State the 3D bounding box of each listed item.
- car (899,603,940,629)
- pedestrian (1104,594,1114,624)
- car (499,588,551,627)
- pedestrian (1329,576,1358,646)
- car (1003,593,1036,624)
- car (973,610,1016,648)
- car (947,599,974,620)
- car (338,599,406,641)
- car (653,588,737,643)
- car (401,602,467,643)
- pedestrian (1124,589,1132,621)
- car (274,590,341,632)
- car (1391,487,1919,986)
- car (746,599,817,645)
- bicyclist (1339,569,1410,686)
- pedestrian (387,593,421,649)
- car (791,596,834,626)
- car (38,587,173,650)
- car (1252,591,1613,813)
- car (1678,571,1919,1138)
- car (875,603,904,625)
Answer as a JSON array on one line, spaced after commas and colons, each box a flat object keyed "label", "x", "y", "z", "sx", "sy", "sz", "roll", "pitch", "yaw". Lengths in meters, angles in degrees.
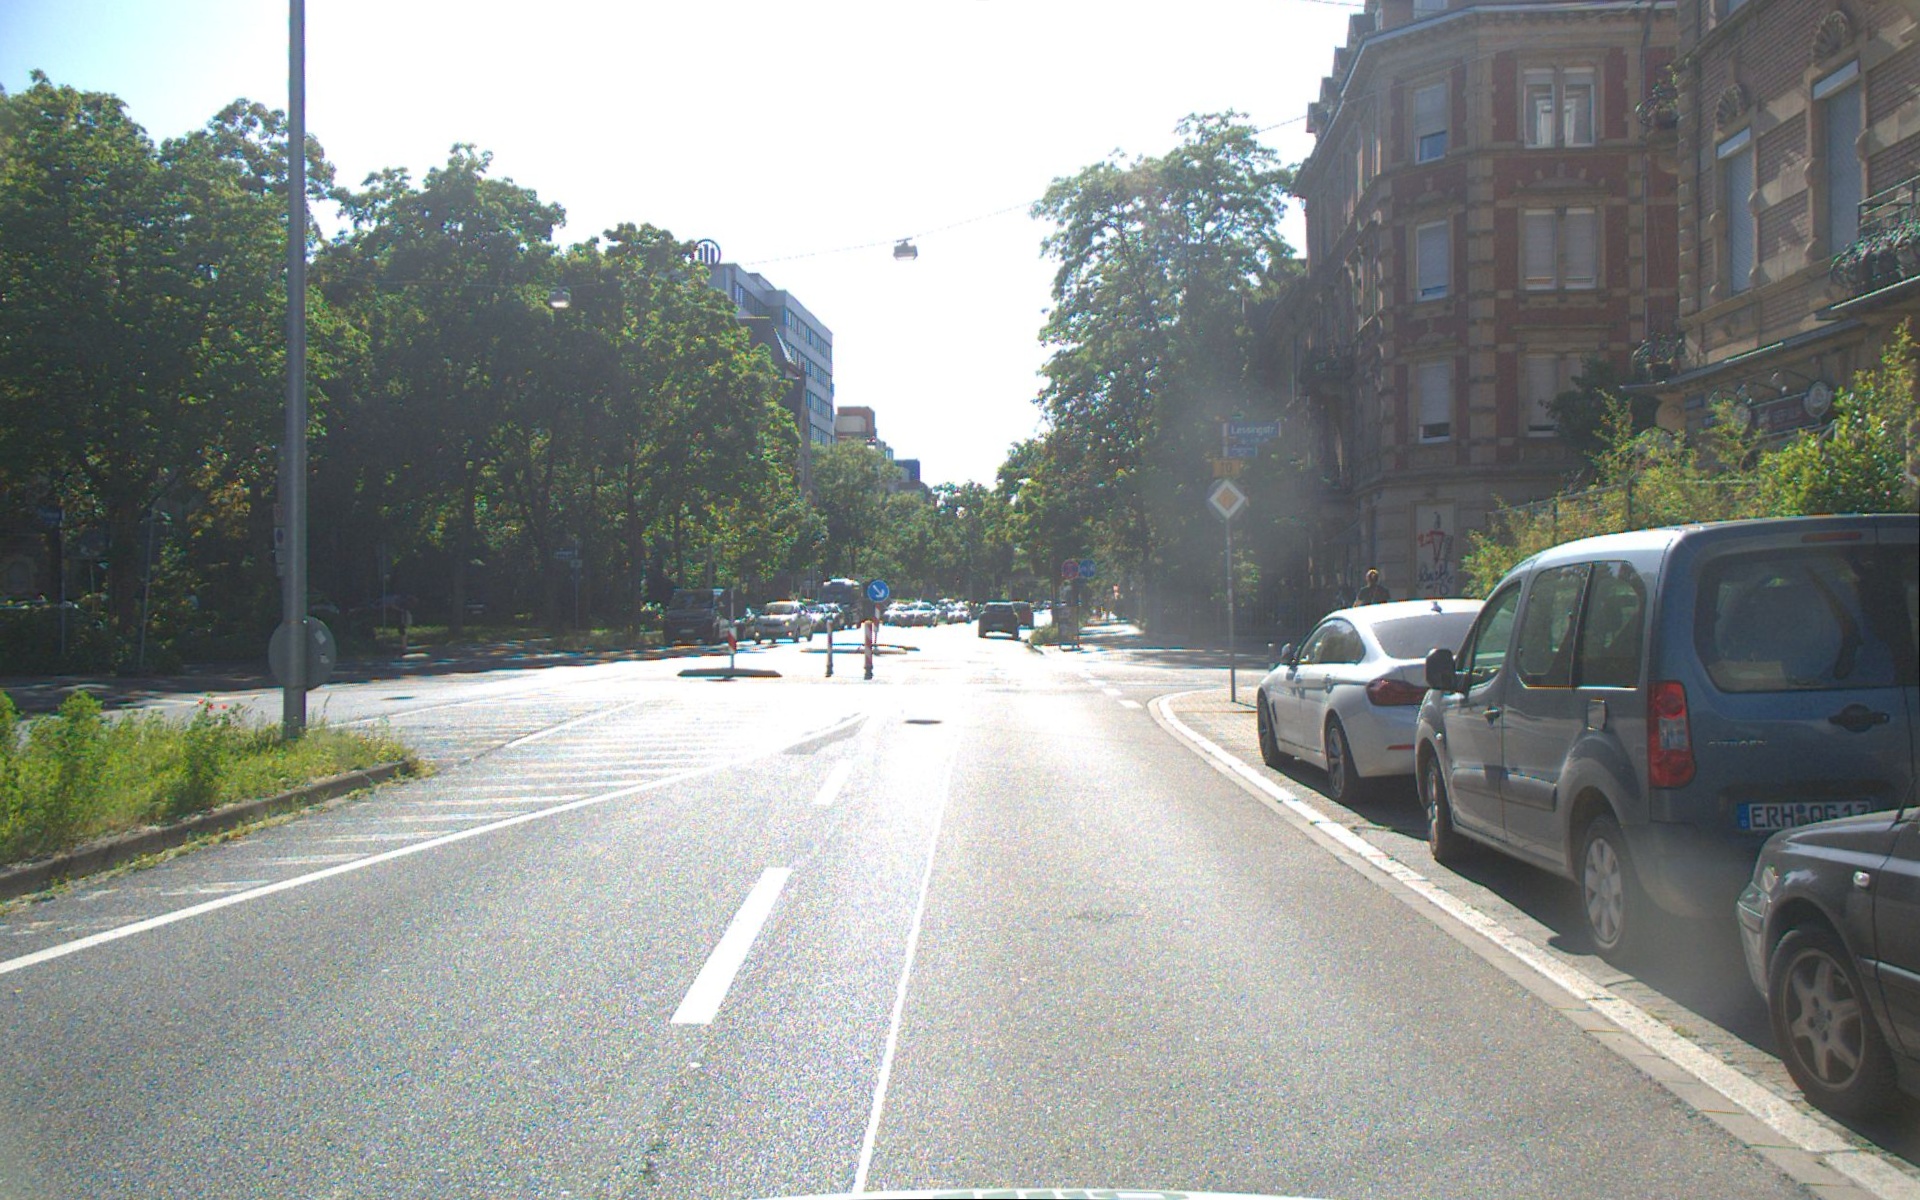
[{"label": "car", "x": -2.344, "y": 0.950, "z": 96.274, "sx": 1.746, "sy": 1.486, "sz": 4.418, "roll": 0, "pitch": -1, "yaw": 7}, {"label": "pedestrian", "x": 10.156, "y": 0.592, "z": 112.738, "sx": 0.602, "sy": 2.049, "sz": 0.681, "roll": 0, "pitch": 0, "yaw": 0}, {"label": "car", "x": -19.824, "y": 0.332, "z": 75.227, "sx": 1.946, "sy": 1.691, "sz": 3.976, "roll": 0, "pitch": 0, "yaw": -20}, {"label": "pedestrian", "x": 10.275, "y": 0.309, "z": 44.301, "sx": 0.642, "sy": 1.848, "sz": 0.752, "roll": 0, "pitch": -3, "yaw": 5}, {"label": "car", "x": 3.407, "y": 0.470, "z": 94.253, "sx": 1.781, "sy": 1.771, "sz": 4.002, "roll": 0, "pitch": 0, "yaw": 4}, {"label": "car", "x": 1.542, "y": 1.282, "z": 74.435, "sx": 1.856, "sy": 1.545, "sz": 4.001, "roll": 2, "pitch": 1, "yaw": 1}, {"label": "car", "x": 0.029, "y": 0.720, "z": 129.209, "sx": 1.603, "sy": 1.545, "sz": 4.033, "roll": 0, "pitch": 0, "yaw": 7}, {"label": "car", "x": -25.057, "y": 0.821, "z": 70.421, "sx": 1.955, "sy": 1.691, "sz": 3.958, "roll": -1, "pitch": 0, "yaw": -31}, {"label": "car", "x": -9.791, "y": 0.552, "z": 61.543, "sx": 2.153, "sy": 1.963, "sz": 4.863, "roll": 0, "pitch": 0, "yaw": 2}, {"label": "car", "x": -22.890, "y": 0.971, "z": 71.919, "sx": 1.954, "sy": 1.691, "sz": 3.960, "roll": -1, "pitch": 0, "yaw": -30}, {"label": "pedestrian", "x": 10.952, "y": 0.335, "z": 107.865, "sx": 0.466, "sy": 2.049, "sz": 0.492, "roll": 1, "pitch": -3, "yaw": 0}, {"label": "car", "x": -27.716, "y": 0.455, "z": 70.192, "sx": 1.957, "sy": 1.691, "sz": 3.955, "roll": -1, "pitch": 0, "yaw": -33}, {"label": "car", "x": 3.597, "y": 0.497, "z": 8.431, "sx": 1.781, "sy": 1.876, "sz": 4.365, "roll": -1, "pitch": 0, "yaw": 2}, {"label": "car", "x": -6.562, "y": 0.801, "z": 61.156, "sx": 1.721, "sy": 1.545, "sz": 3.862, "roll": -2, "pitch": 1, "yaw": 7}, {"label": "bicyclist", "x": 5.843, "y": 0.370, "z": 23.358, "sx": 0.726, "sy": 1.607, "sz": 1.100, "roll": 1, "pitch": 1, "yaw": 1}, {"label": "pedestrian", "x": -16.544, "y": 0.618, "z": 49.230, "sx": 0.656, "sy": 1.655, "sz": 0.713, "roll": 0, "pitch": 0, "yaw": 33}, {"label": "car", "x": -7.371, "y": 0.532, "z": 83.074, "sx": 1.491, "sy": 1.457, "sz": 3.339, "roll": 0, "pitch": 0, "yaw": 7}, {"label": "car", "x": -24.991, "y": 0.575, "z": 48.532, "sx": 1.808, "sy": 1.683, "sz": 3.999, "roll": 1, "pitch": -3, "yaw": 0}, {"label": "car", "x": 3.588, "y": 0.682, "z": 13.358, "sx": 1.674, "sy": 1.450, "sz": 4.205, "roll": -2, "pitch": 0, "yaw": 0}, {"label": "car", "x": 3.323, "y": 0.670, "z": 3.774, "sx": 1.633, "sy": 1.493, "sz": 4.275, "roll": 0, "pitch": 0, "yaw": 2}, {"label": "car", "x": -4.910, "y": 0.955, "z": 115.580, "sx": 1.764, "sy": 1.530, "sz": 3.808, "roll": 0, "pitch": 0, "yaw": 1}]
